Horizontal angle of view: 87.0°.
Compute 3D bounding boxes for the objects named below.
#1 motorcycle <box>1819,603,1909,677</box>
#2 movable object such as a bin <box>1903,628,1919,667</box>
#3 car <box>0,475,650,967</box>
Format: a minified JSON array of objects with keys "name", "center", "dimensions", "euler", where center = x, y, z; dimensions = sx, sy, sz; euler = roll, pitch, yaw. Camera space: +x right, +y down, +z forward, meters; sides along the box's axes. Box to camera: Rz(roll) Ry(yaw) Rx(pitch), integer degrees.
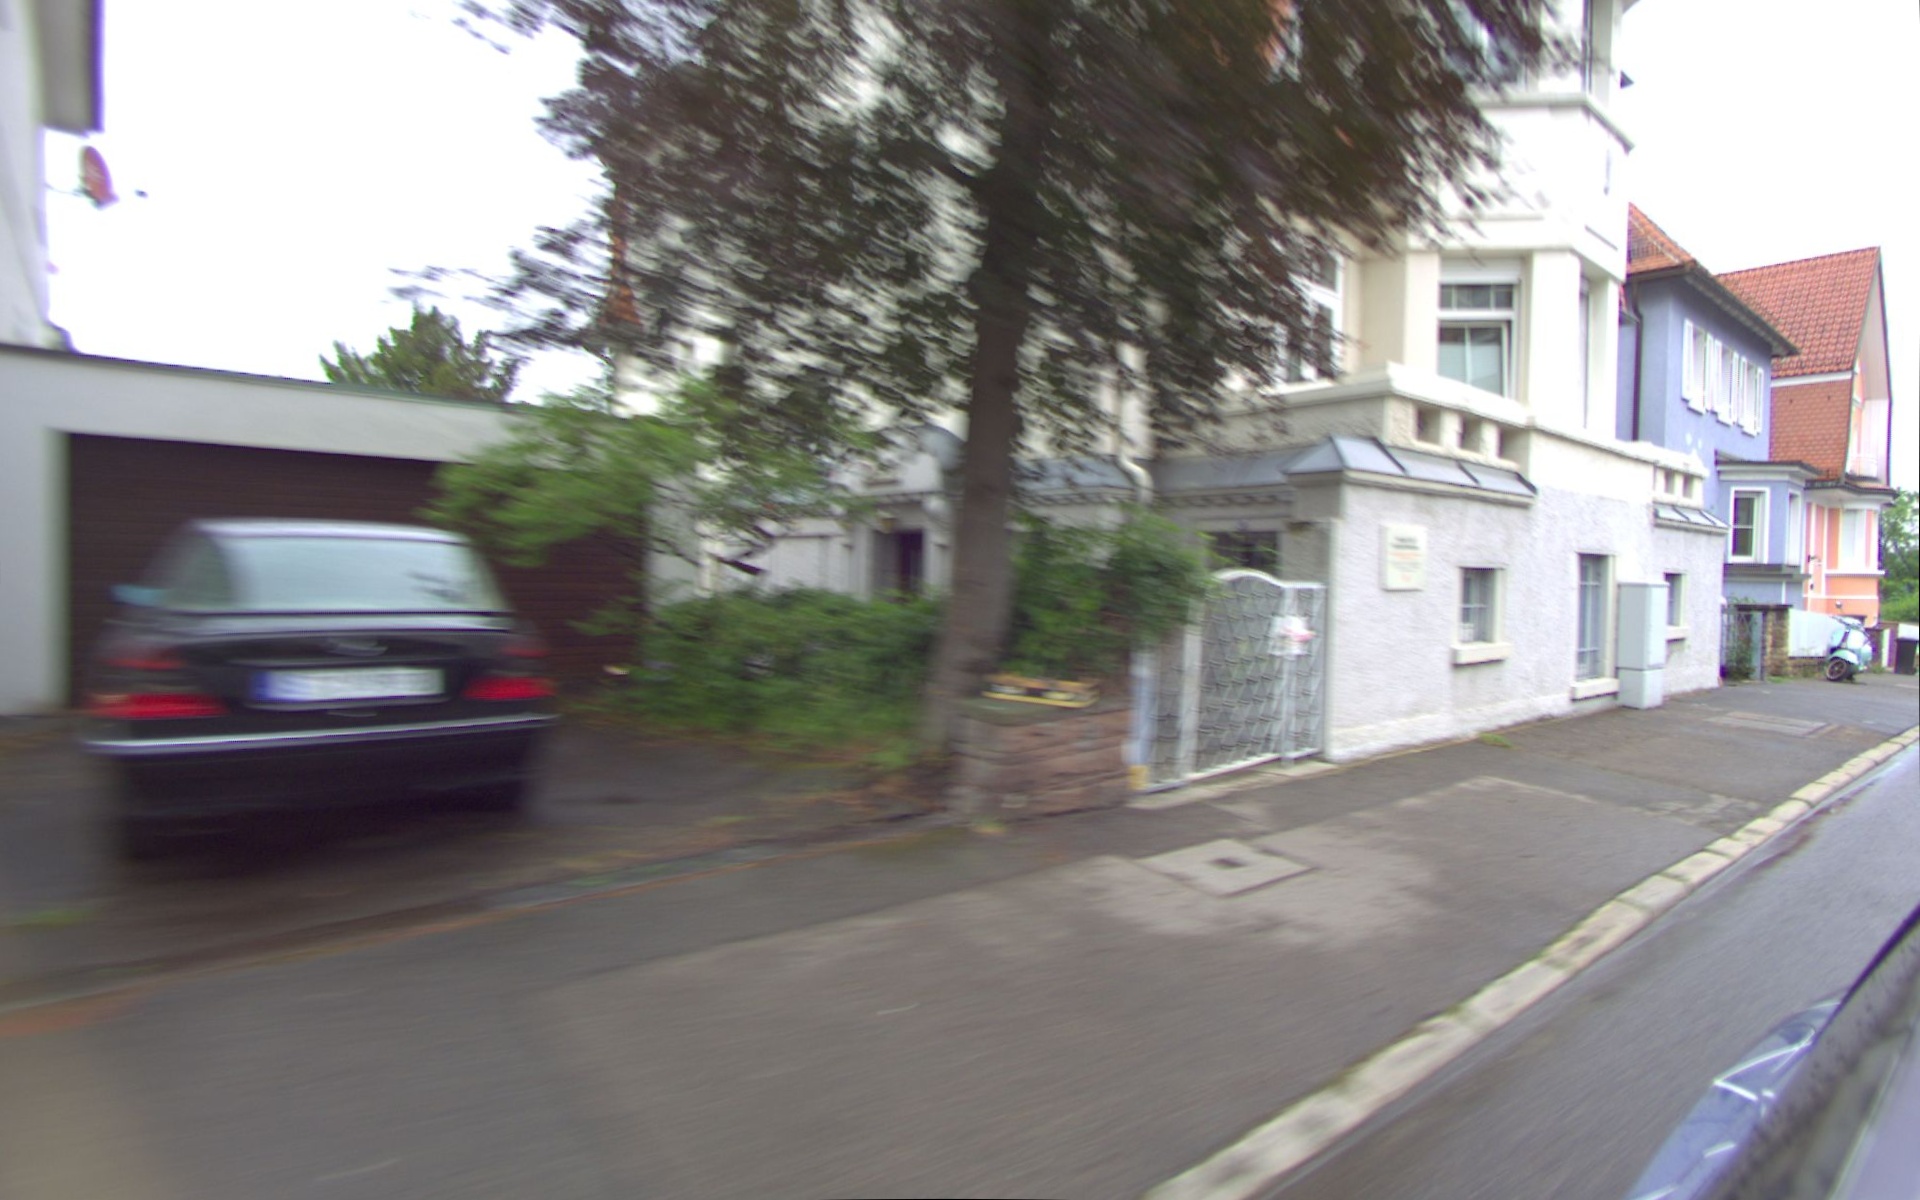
[{"name":"motorcycle","center":[16.976,0.752,18.985],"dimensions":[2.113,1.240,0.696],"euler":[2,6,-37]},{"name":"movable object such as a bin","center":[24.117,1.200,25.426],"dimensions":[0.480,0.930,0.533],"euler":[2,3,-42]},{"name":"car","center":[-3.336,0.258,5.335],"dimensions":[1.941,1.504,4.160],"euler":[-4,4,-36]}]
